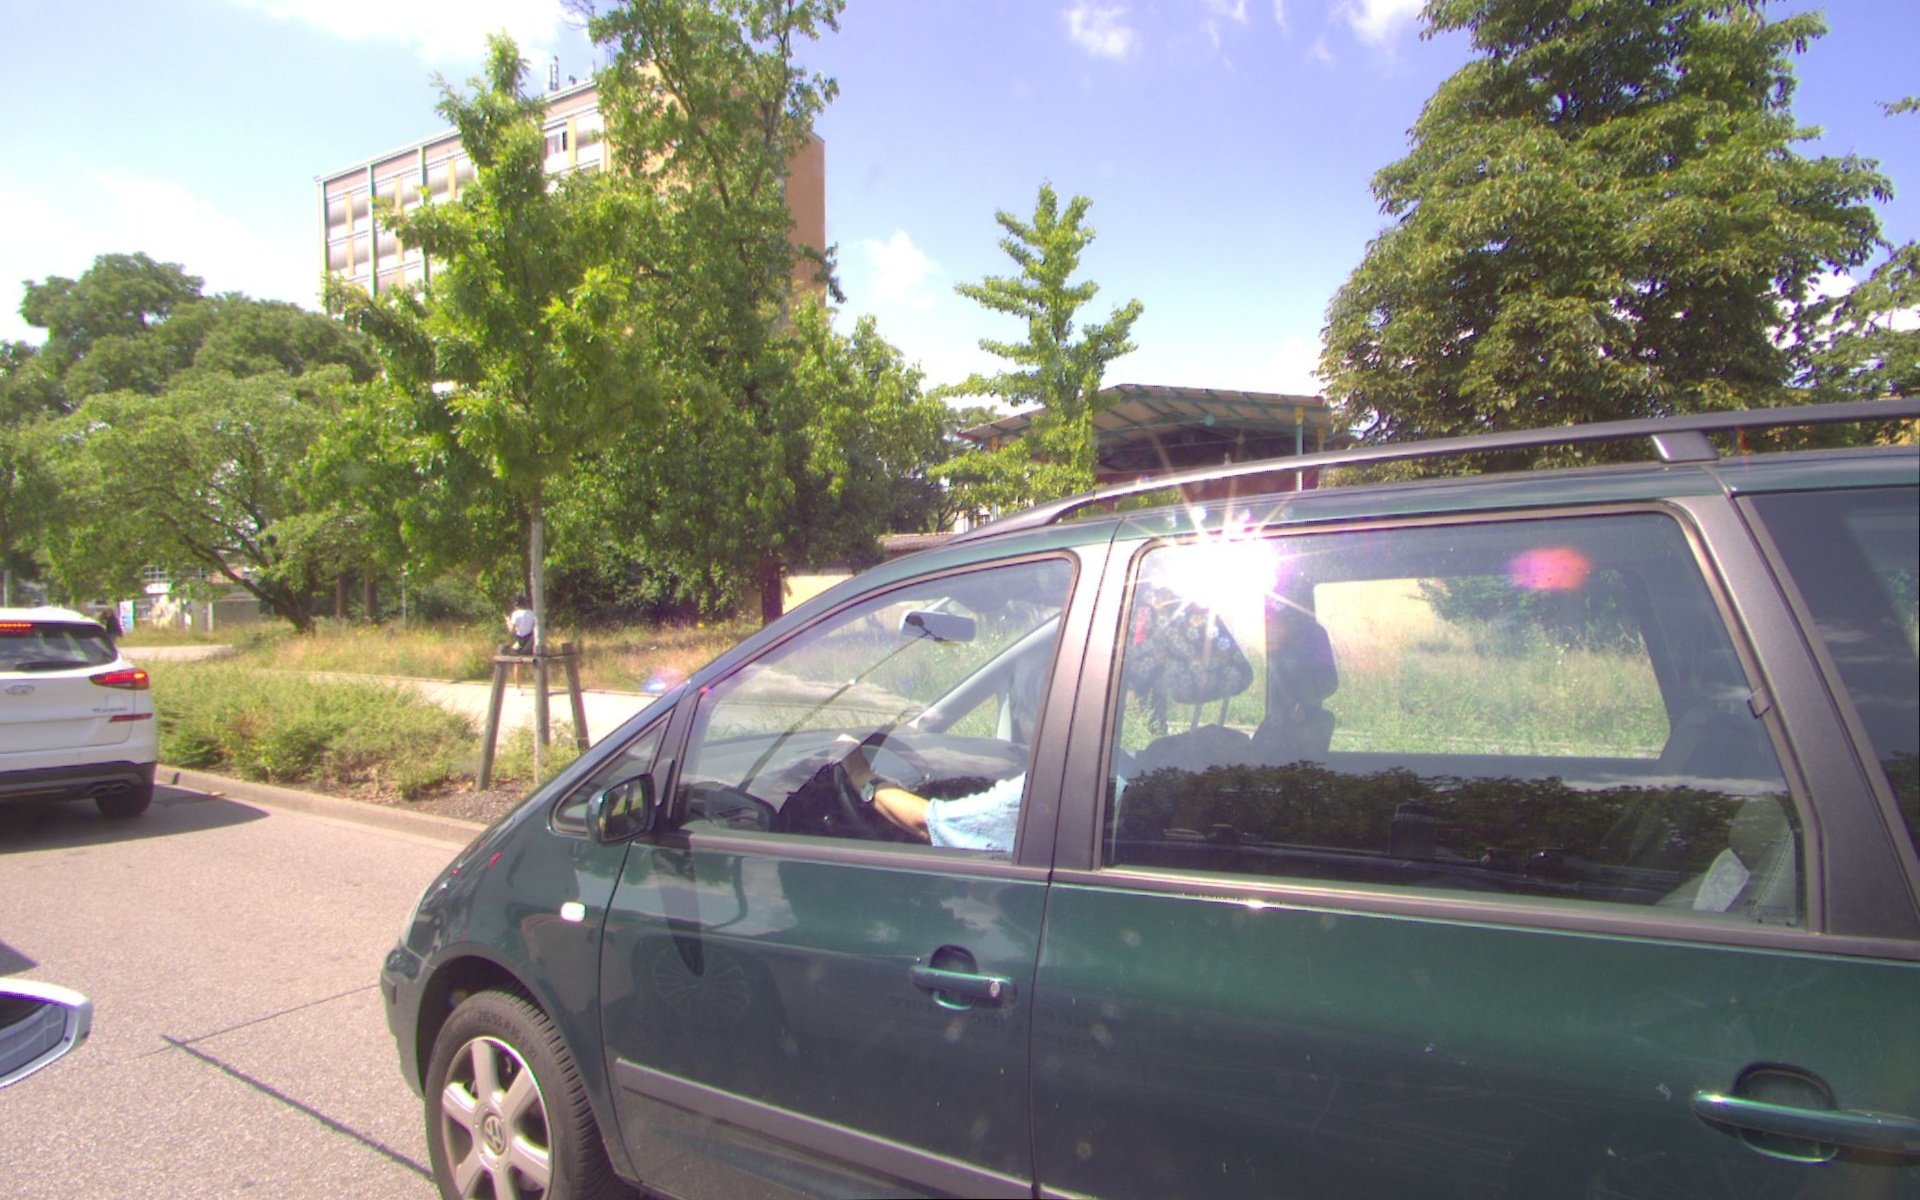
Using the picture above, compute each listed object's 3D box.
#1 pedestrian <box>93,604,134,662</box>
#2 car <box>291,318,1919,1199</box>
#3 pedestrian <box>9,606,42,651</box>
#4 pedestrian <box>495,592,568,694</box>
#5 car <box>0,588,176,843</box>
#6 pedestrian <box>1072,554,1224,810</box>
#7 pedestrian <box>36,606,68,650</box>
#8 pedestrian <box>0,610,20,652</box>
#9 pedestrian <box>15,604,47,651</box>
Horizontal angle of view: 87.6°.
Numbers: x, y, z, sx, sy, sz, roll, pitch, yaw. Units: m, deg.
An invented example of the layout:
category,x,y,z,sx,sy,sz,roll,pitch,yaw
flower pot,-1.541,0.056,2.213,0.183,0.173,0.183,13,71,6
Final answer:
category,x,y,z,sx,sy,sz,roll,pitch,yaw
pedestrian,-25.216,0.971,29.819,0.805,1.677,0.756,0,1,36
car,0.547,0.631,2.271,4.329,1.737,1.799,0,-2,32
pedestrian,-39.909,1.199,42.768,0.802,1.874,0.759,0,1,22
pedestrian,-6.860,0.670,16.038,0.805,1.578,0.757,0,1,33
car,-7.996,0.784,7.844,3.919,1.701,1.810,0,0,34
pedestrian,1.356,0.549,7.232,0.807,1.706,0.754,0,1,44
pedestrian,-39.554,1.201,43.605,0.803,1.874,0.759,0,1,24
pedestrian,-43.455,1.390,45.631,0.805,1.874,0.757,0,1,33
pedestrian,-35.666,1.046,38.444,0.806,1.813,0.756,0,0,37
